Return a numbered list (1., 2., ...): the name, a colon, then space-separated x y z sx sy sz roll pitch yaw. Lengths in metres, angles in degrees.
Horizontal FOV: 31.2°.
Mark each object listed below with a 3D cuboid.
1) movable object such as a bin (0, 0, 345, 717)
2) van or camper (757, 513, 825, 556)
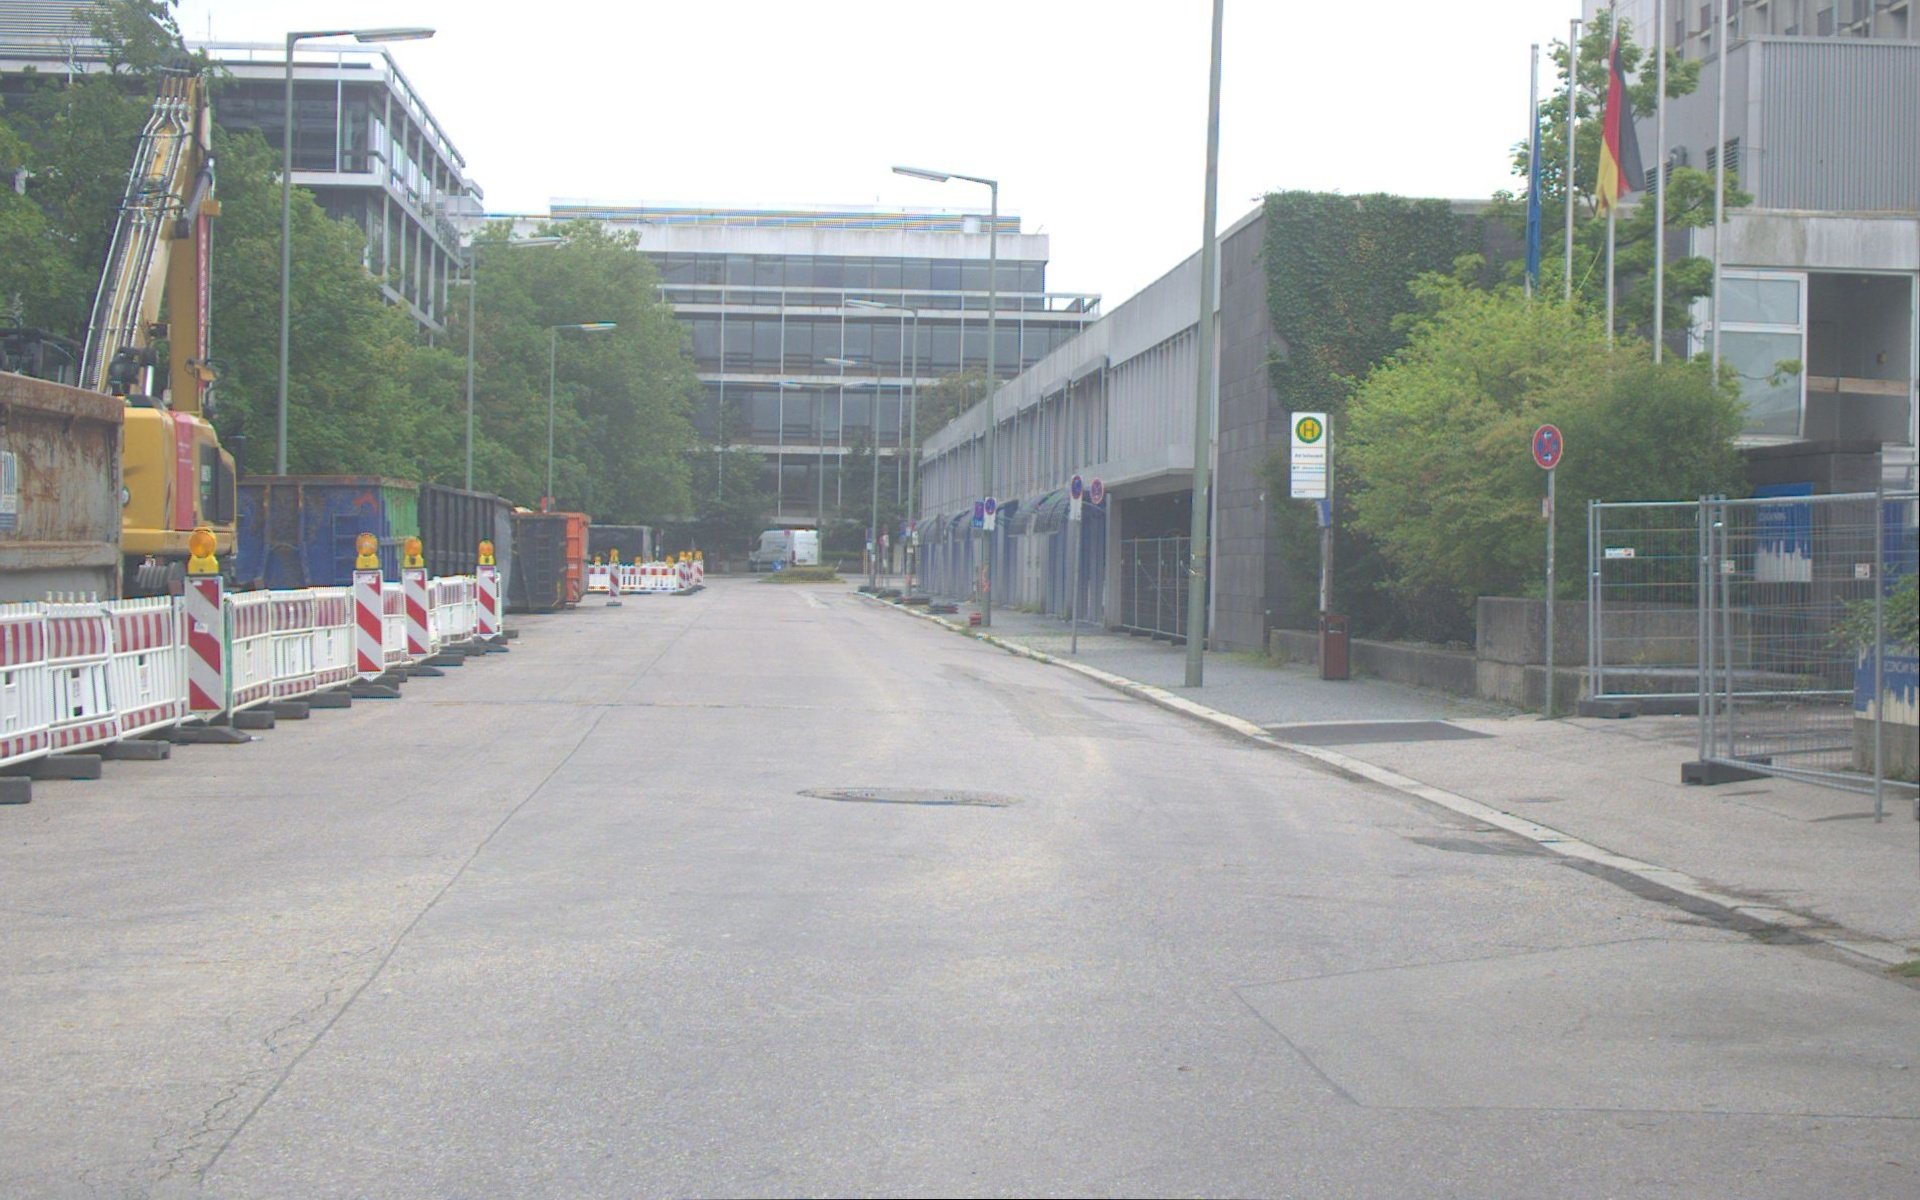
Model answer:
1. movable object such as a bin: -8.127 -2.417 33.357 2.904 6.542 11.786 1 1 -4
2. van or camper: -10.175 -3.958 206.643 2.085 2.483 5.068 1 1 -29
